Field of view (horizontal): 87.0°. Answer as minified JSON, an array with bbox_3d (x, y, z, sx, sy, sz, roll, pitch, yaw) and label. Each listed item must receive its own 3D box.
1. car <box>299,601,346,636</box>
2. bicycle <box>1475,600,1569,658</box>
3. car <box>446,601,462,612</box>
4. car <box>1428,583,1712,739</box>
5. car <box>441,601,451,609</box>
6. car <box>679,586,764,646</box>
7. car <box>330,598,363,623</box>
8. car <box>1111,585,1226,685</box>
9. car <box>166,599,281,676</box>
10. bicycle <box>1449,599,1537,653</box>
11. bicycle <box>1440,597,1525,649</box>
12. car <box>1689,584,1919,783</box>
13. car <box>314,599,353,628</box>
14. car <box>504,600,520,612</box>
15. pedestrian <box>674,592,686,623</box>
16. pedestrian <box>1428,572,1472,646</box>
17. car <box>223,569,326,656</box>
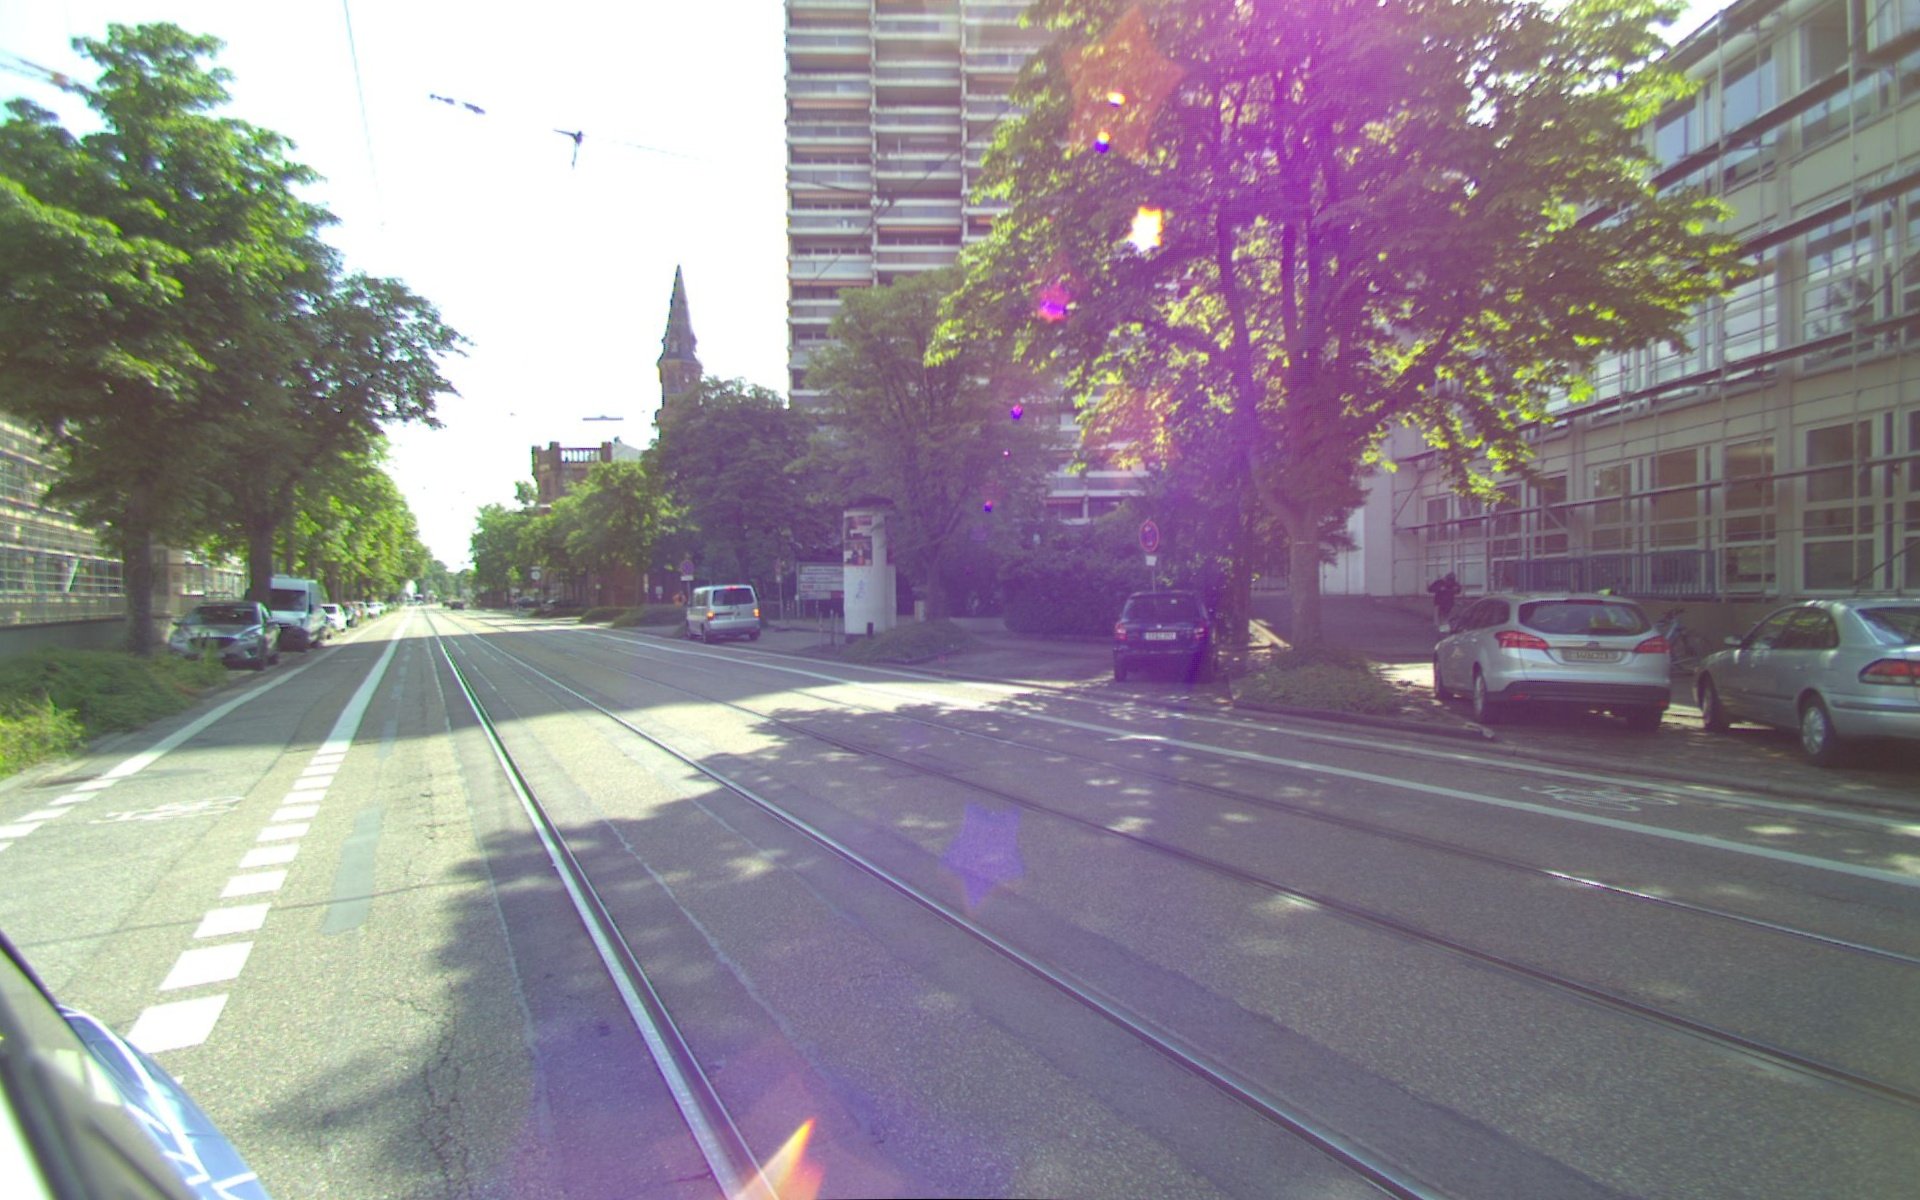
[{"bbox_3d":[-32.420,0.897,51.580,1.721,1.618,4.250,-4,2,-29],"label":"car"},{"bbox_3d":[11.155,0.576,20.109,1.557,1.122,0.542,-1,-2,-4],"label":"bicycle"},{"bbox_3d":[-77.847,0.983,155.658,1.861,1.656,4.249,-1,0,-30],"label":"car"},{"bbox_3d":[6.962,0.597,12.076,1.806,1.512,4.172,-1,0,15],"label":"car"},{"bbox_3d":[-115.449,1.143,227.292,1.861,1.656,4.249,-1,0,-30],"label":"car"},{"bbox_3d":[-8.481,0.508,35.760,1.861,1.865,4.250,-4,2,-27],"label":"car"},{"bbox_3d":[-42.584,0.704,70.291,1.721,1.618,4.250,-4,2,-29],"label":"car"},{"bbox_3d":[3.734,0.538,17.685,1.726,1.535,3.866,-1,0,15],"label":"car"},{"bbox_3d":[-18.050,0.837,24.979,1.721,1.618,4.250,-4,2,-29],"label":"car"},{"bbox_3d":[11.255,0.551,21.401,1.557,1.101,0.542,-1,-2,-4],"label":"bicycle"},{"bbox_3d":[11.508,0.507,22.312,1.557,1.089,0.542,-1,-2,-4],"label":"bicycle"},{"bbox_3d":[8.394,0.599,9.120,1.808,1.461,4.145,-1,0,19],"label":"car"},{"bbox_3d":[-37.586,0.778,60.775,1.721,1.618,4.250,-4,2,-29],"label":"car"},{"bbox_3d":[-61.017,0.808,137.721,1.601,1.586,3.964,3,-1,-28],"label":"car"},{"bbox_3d":[-16.658,0.440,60.255,0.455,1.767,0.535,-3,4,-35],"label":"pedestrian"},{"bbox_3d":[11.130,0.189,22.995,0.631,1.636,0.663,-2,1,-36],"label":"pedestrian"},{"bbox_3d":[-22.997,0.350,34.180,2.299,2.579,5.407,-4,2,-29],"label":"car"}]
